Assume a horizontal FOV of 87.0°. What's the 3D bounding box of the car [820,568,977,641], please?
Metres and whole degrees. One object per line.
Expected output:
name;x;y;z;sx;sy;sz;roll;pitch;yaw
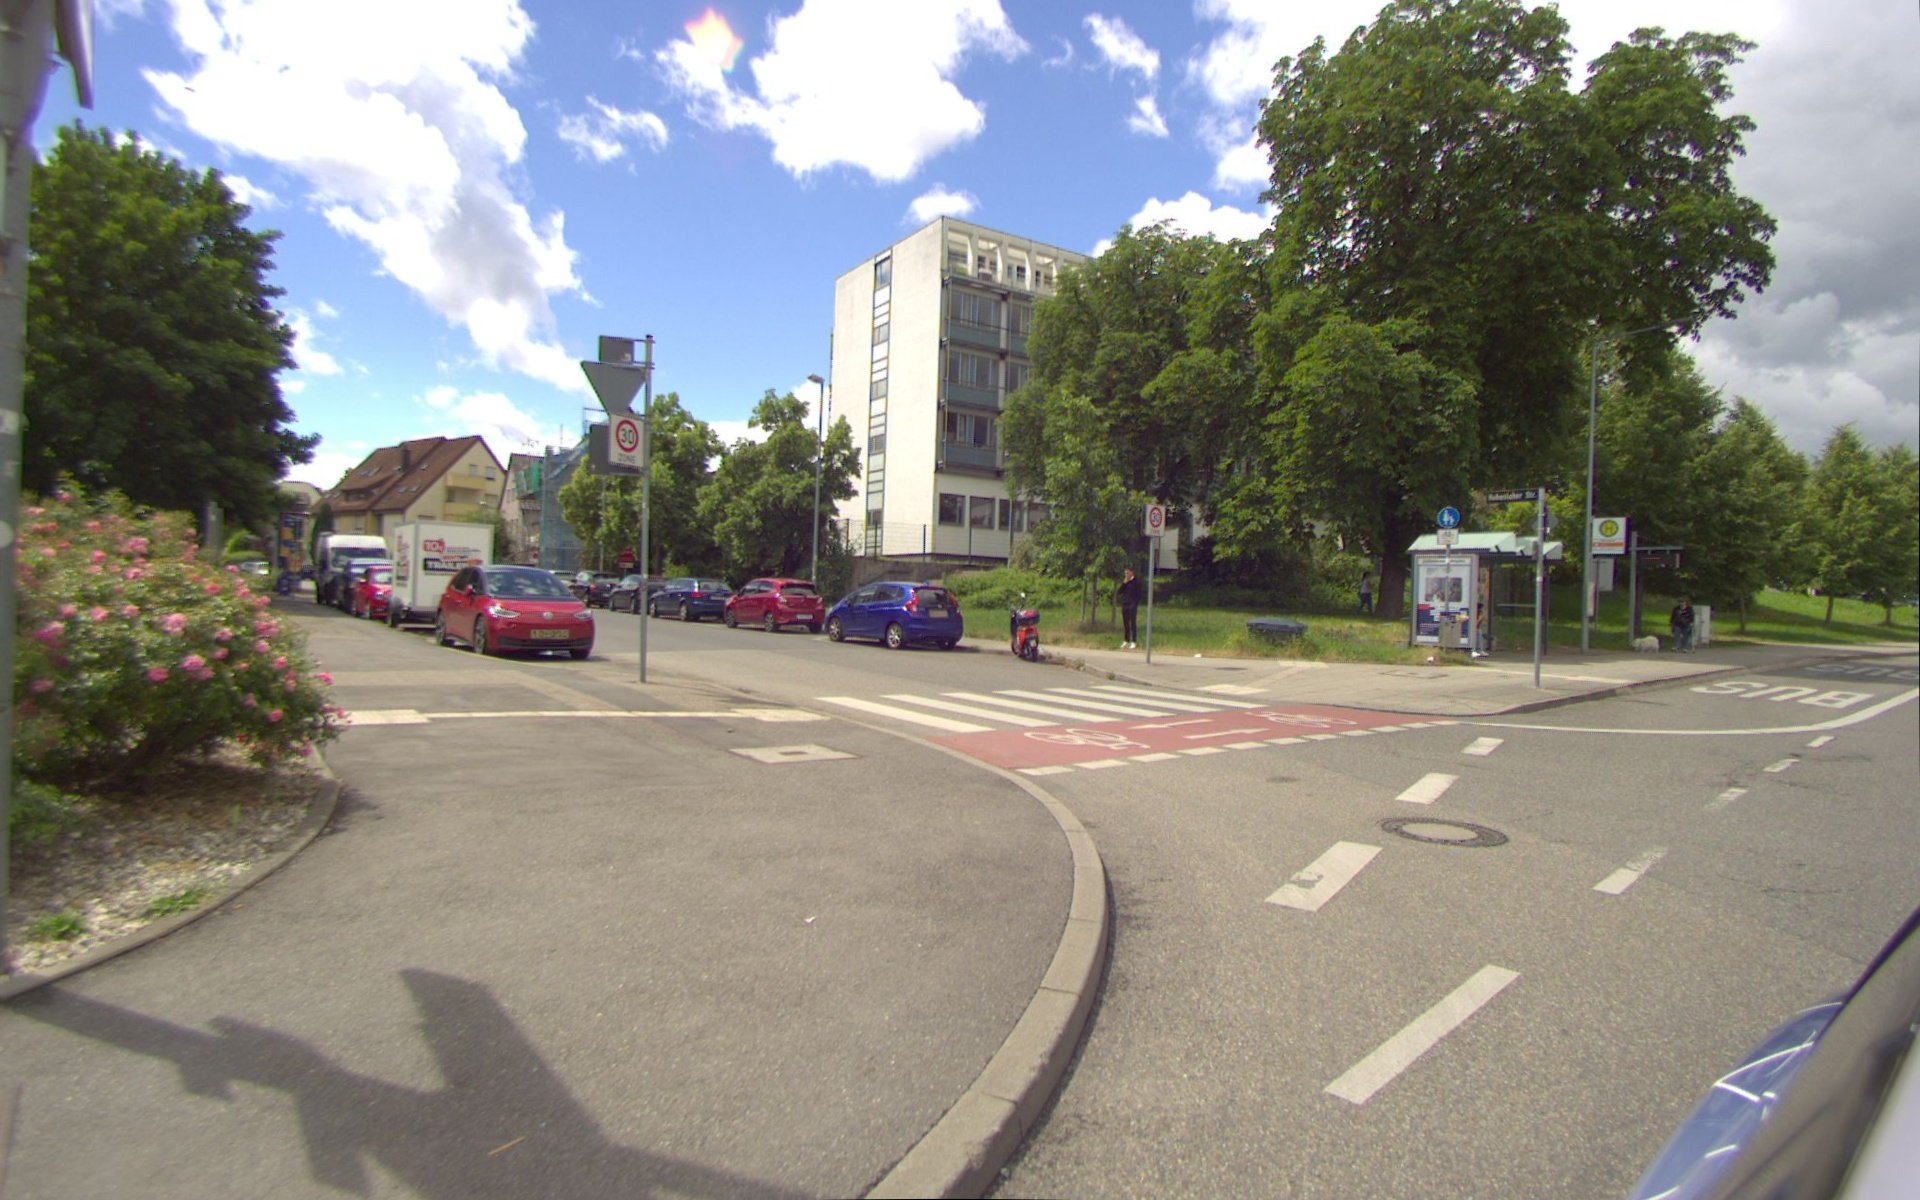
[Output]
car;-1.536;0.062;24.096;1.861;1.474;3.805;3;1;-38

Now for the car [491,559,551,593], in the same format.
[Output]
car;-22.366;-1.224;51.492;1.759;1.610;3.997;1;1;-39

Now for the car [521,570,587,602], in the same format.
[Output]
car;-18.852;-0.664;46.913;1.814;1.382;3.997;3;-1;-38

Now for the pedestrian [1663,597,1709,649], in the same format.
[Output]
pedestrian;20.876;0.646;29.102;0.814;1.442;0.822;0;1;-35

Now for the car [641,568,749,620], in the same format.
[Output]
car;-8.845;-0.238;33.589;1.964;1.579;4.088;1;1;-39

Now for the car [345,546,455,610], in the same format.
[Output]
car;-14.992;-0.620;26.981;1.963;1.521;4.093;3;1;-37

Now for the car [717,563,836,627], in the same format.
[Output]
car;-5.278;-0.152;28.863;1.796;1.664;3.696;3;-1;-38

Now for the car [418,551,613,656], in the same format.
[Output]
car;-7.911;0.025;17.822;1.964;1.581;4.164;4;-1;-40

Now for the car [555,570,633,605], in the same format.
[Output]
car;-15.362;-0.533;42.348;1.835;1.303;3.996;1;1;-40

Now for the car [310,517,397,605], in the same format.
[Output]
car;-21.861;-1.382;36.368;2.163;2.902;5.596;1;1;-36

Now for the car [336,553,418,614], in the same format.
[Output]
car;-18.016;-0.533;31.206;1.872;1.745;4.001;1;1;-34

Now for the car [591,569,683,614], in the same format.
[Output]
car;-12.203;-0.343;38.085;1.964;1.579;4.088;1;1;-39

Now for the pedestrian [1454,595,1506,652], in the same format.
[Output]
pedestrian;12.097;0.537;23.564;0.672;1.274;0.830;1;0;-33

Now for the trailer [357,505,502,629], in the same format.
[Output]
trailer;-12.377;-0.707;23.461;2.180;2.519;4.550;3;-1;-37

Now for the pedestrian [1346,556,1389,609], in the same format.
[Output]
pedestrian;13.823;-0.588;34.337;0.840;1.782;0.991;0;1;-26
